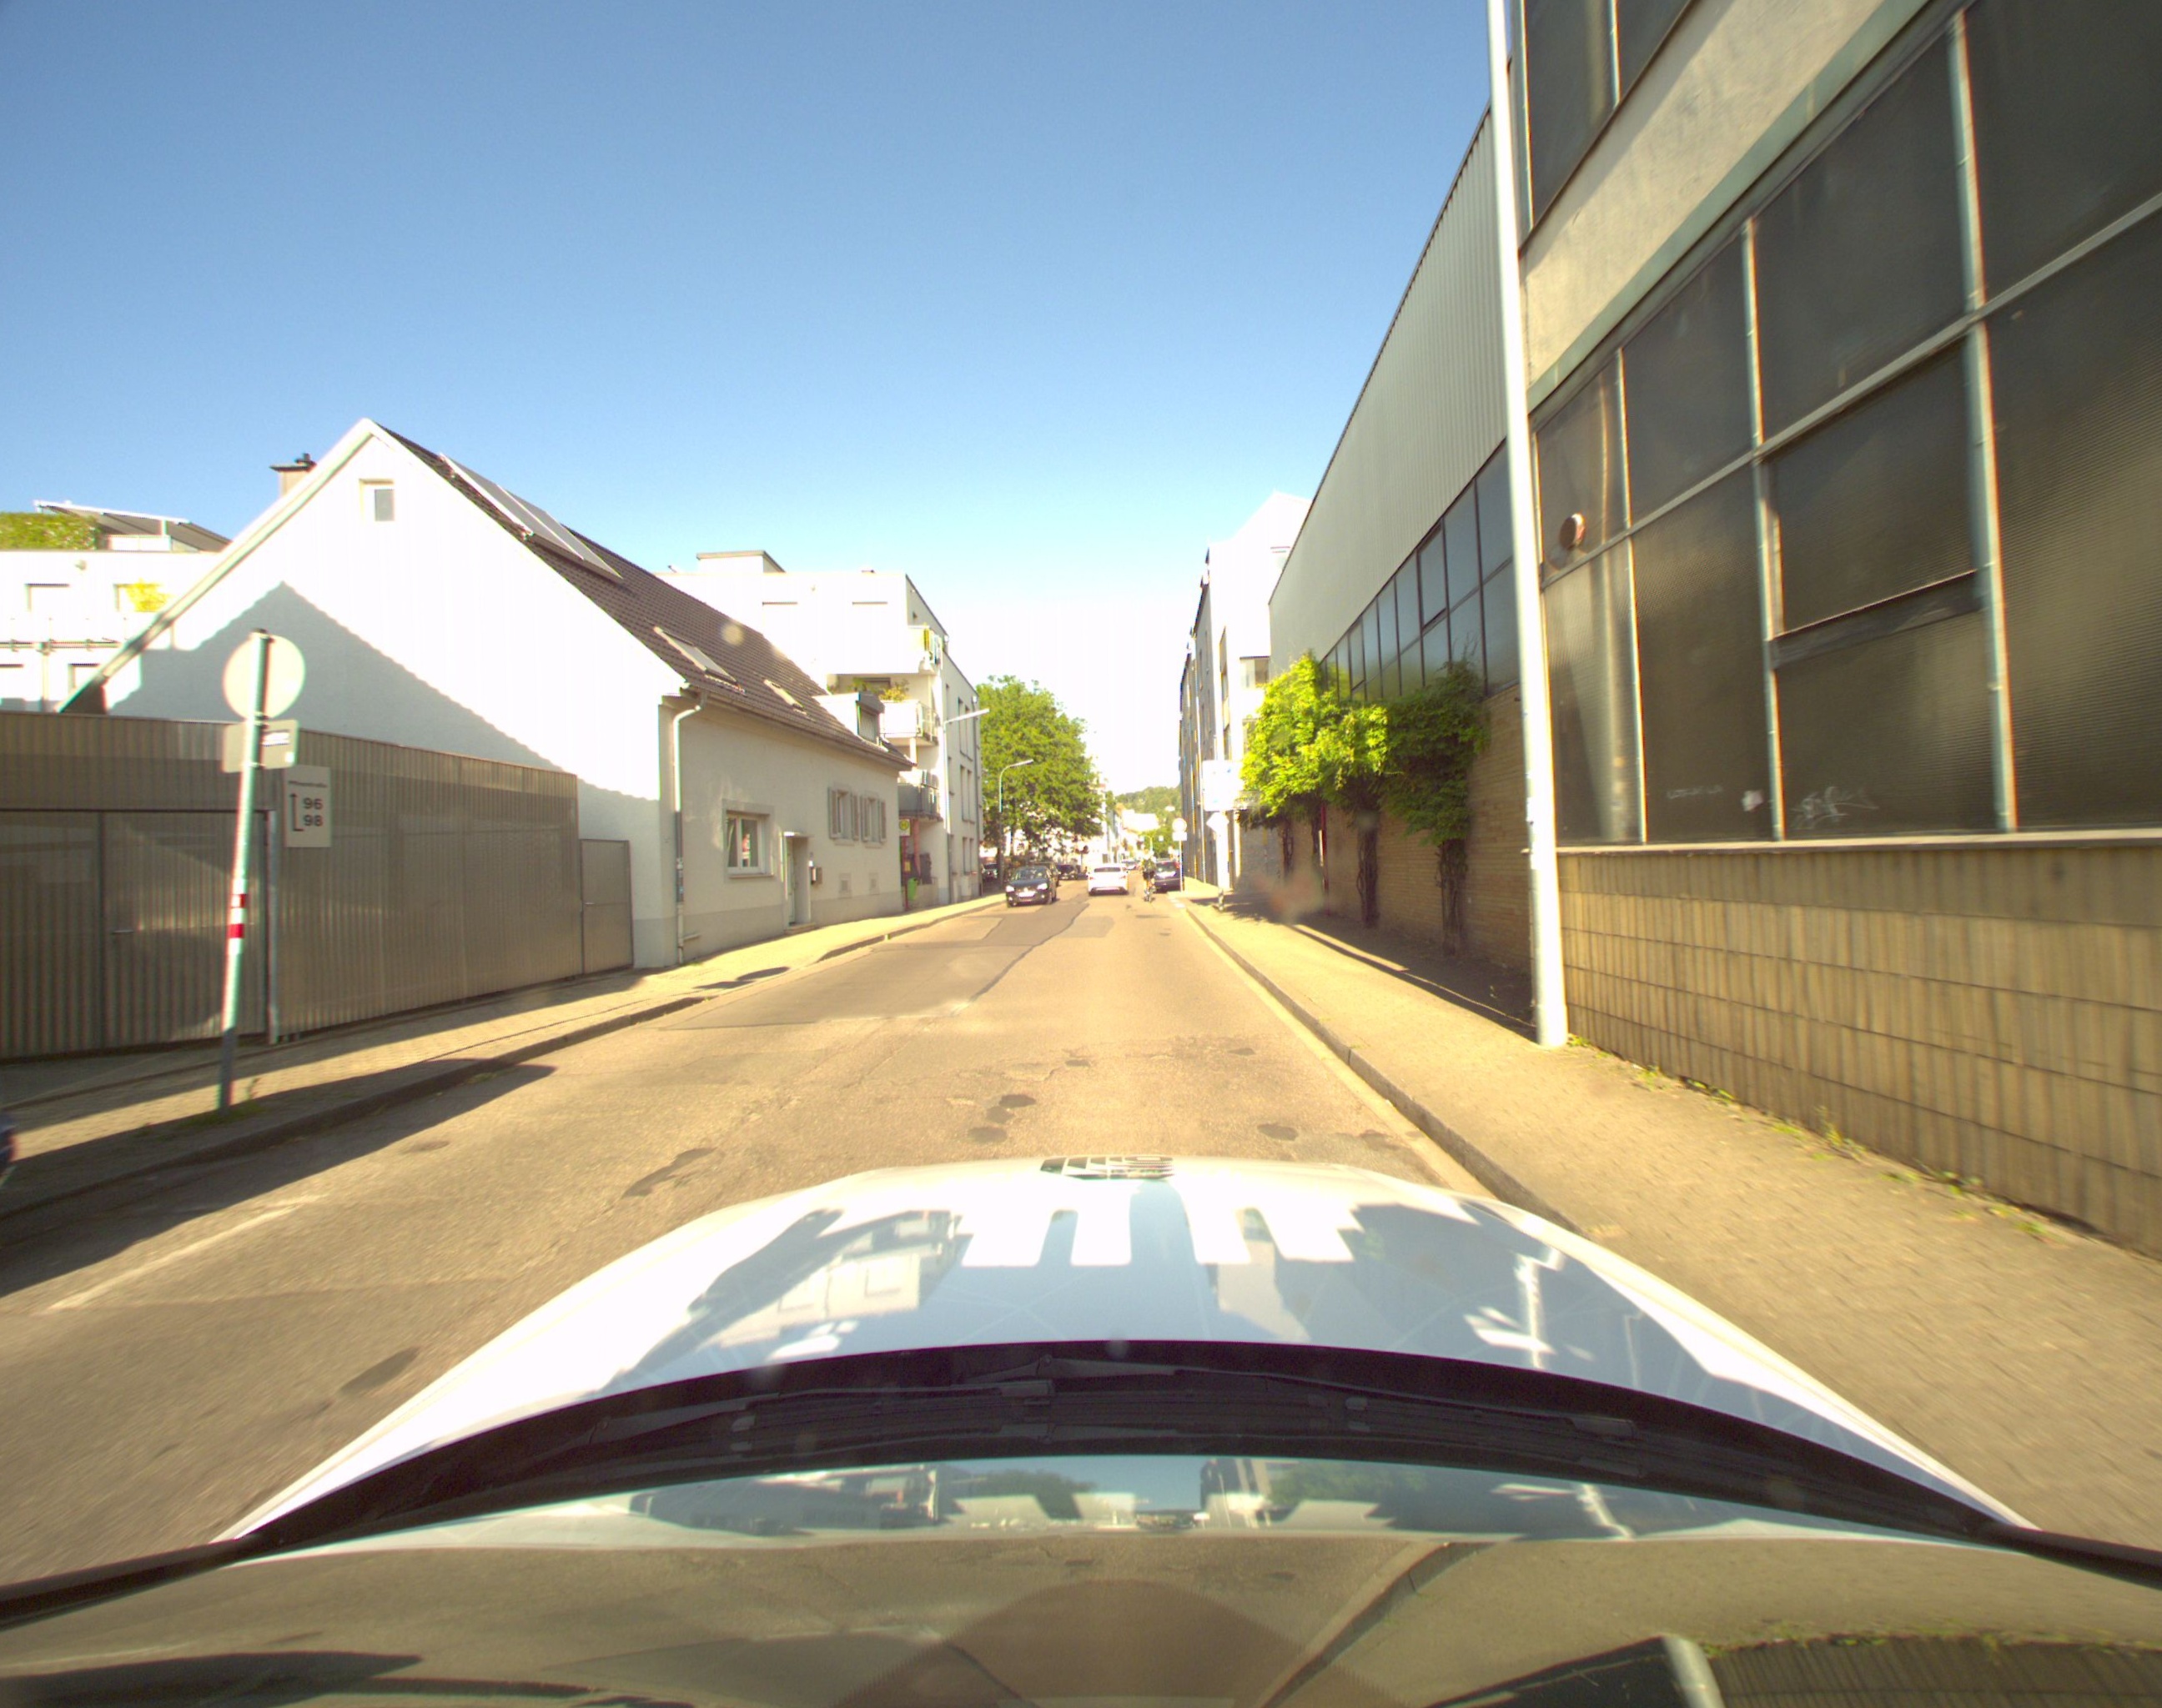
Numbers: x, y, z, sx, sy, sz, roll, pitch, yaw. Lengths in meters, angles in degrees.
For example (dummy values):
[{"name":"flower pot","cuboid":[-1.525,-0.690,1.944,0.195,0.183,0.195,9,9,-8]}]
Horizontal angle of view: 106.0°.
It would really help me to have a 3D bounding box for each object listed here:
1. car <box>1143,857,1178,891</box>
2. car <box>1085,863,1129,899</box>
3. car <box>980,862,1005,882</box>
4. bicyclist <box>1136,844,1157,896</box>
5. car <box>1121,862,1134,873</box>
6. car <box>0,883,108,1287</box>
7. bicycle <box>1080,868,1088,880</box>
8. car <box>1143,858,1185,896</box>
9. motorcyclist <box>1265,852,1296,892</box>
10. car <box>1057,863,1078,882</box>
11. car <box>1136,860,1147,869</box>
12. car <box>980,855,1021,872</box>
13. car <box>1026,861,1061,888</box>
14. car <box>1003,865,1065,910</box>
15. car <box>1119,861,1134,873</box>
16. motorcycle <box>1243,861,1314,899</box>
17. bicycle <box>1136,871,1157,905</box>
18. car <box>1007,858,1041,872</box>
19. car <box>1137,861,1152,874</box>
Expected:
[{"name":"car","cuboid":[4.224,1.021,43.639,1.657,1.702,3.916,-1,0,3]},{"name":"car","cuboid":[1.168,1.194,36.786,1.835,1.491,4.145,-1,-1,1]},{"name":"car","cuboid":[-7.956,1.573,73.446,1.783,1.689,3.965,0,0,1]},{"name":"bicyclist","cuboid":[2.313,0.567,28.980,0.695,1.790,1.041,-1,-1,3]},{"name":"car","cuboid":[6.977,1.940,120.795,1.656,1.575,3.921,-1,0,6]},{"name":"car","cuboid":[-5.261,0.957,1.498,1.802,1.587,4.195,0,1,2]},{"name":"bicycle","cuboid":[0.335,2.216,90.071,0.832,1.217,2.843,-1,0,2]},{"name":"car","cuboid":[3.947,1.061,39.113,1.623,1.587,4.071,-4,-1,2]},{"name":"motorcyclist","cuboid":[7.334,0.659,29.915,0.868,1.473,0.901,-2,-1,31]},{"name":"car","cuboid":[-1.183,1.675,74.949,1.698,1.575,3.915,-1,0,2]},{"name":"car","cuboid":[12.387,2.202,167.267,1.934,1.587,4.631,-5,-1,7]},{"name":"car","cuboid":[-8.298,0.973,83.704,3.880,1.575,1.713,-1,0,7]},{"name":"car","cuboid":[-2.553,1.385,56.503,1.845,1.791,4.612,-1,0,4]},{"name":"car","cuboid":[-1.709,1.218,31.011,1.835,1.491,4.147,-4,-1,3]},{"name":"car","cuboid":[7.337,2.076,130.910,1.935,1.587,4.628,-5,-1,6]},{"name":"motorcycle","cuboid":[7.264,0.961,29.942,2.312,1.281,0.901,-4,-2,31]},{"name":"bicycle","cuboid":[2.329,1.188,29.088,0.695,1.130,2.405,-1,-1,3]},{"name":"car","cuboid":[-6.732,1.281,95.738,3.895,1.575,1.707,-1,0,-5]},{"name":"car","cuboid":[9.101,1.928,117.625,1.847,1.791,4.607,-1,0,0]}]
